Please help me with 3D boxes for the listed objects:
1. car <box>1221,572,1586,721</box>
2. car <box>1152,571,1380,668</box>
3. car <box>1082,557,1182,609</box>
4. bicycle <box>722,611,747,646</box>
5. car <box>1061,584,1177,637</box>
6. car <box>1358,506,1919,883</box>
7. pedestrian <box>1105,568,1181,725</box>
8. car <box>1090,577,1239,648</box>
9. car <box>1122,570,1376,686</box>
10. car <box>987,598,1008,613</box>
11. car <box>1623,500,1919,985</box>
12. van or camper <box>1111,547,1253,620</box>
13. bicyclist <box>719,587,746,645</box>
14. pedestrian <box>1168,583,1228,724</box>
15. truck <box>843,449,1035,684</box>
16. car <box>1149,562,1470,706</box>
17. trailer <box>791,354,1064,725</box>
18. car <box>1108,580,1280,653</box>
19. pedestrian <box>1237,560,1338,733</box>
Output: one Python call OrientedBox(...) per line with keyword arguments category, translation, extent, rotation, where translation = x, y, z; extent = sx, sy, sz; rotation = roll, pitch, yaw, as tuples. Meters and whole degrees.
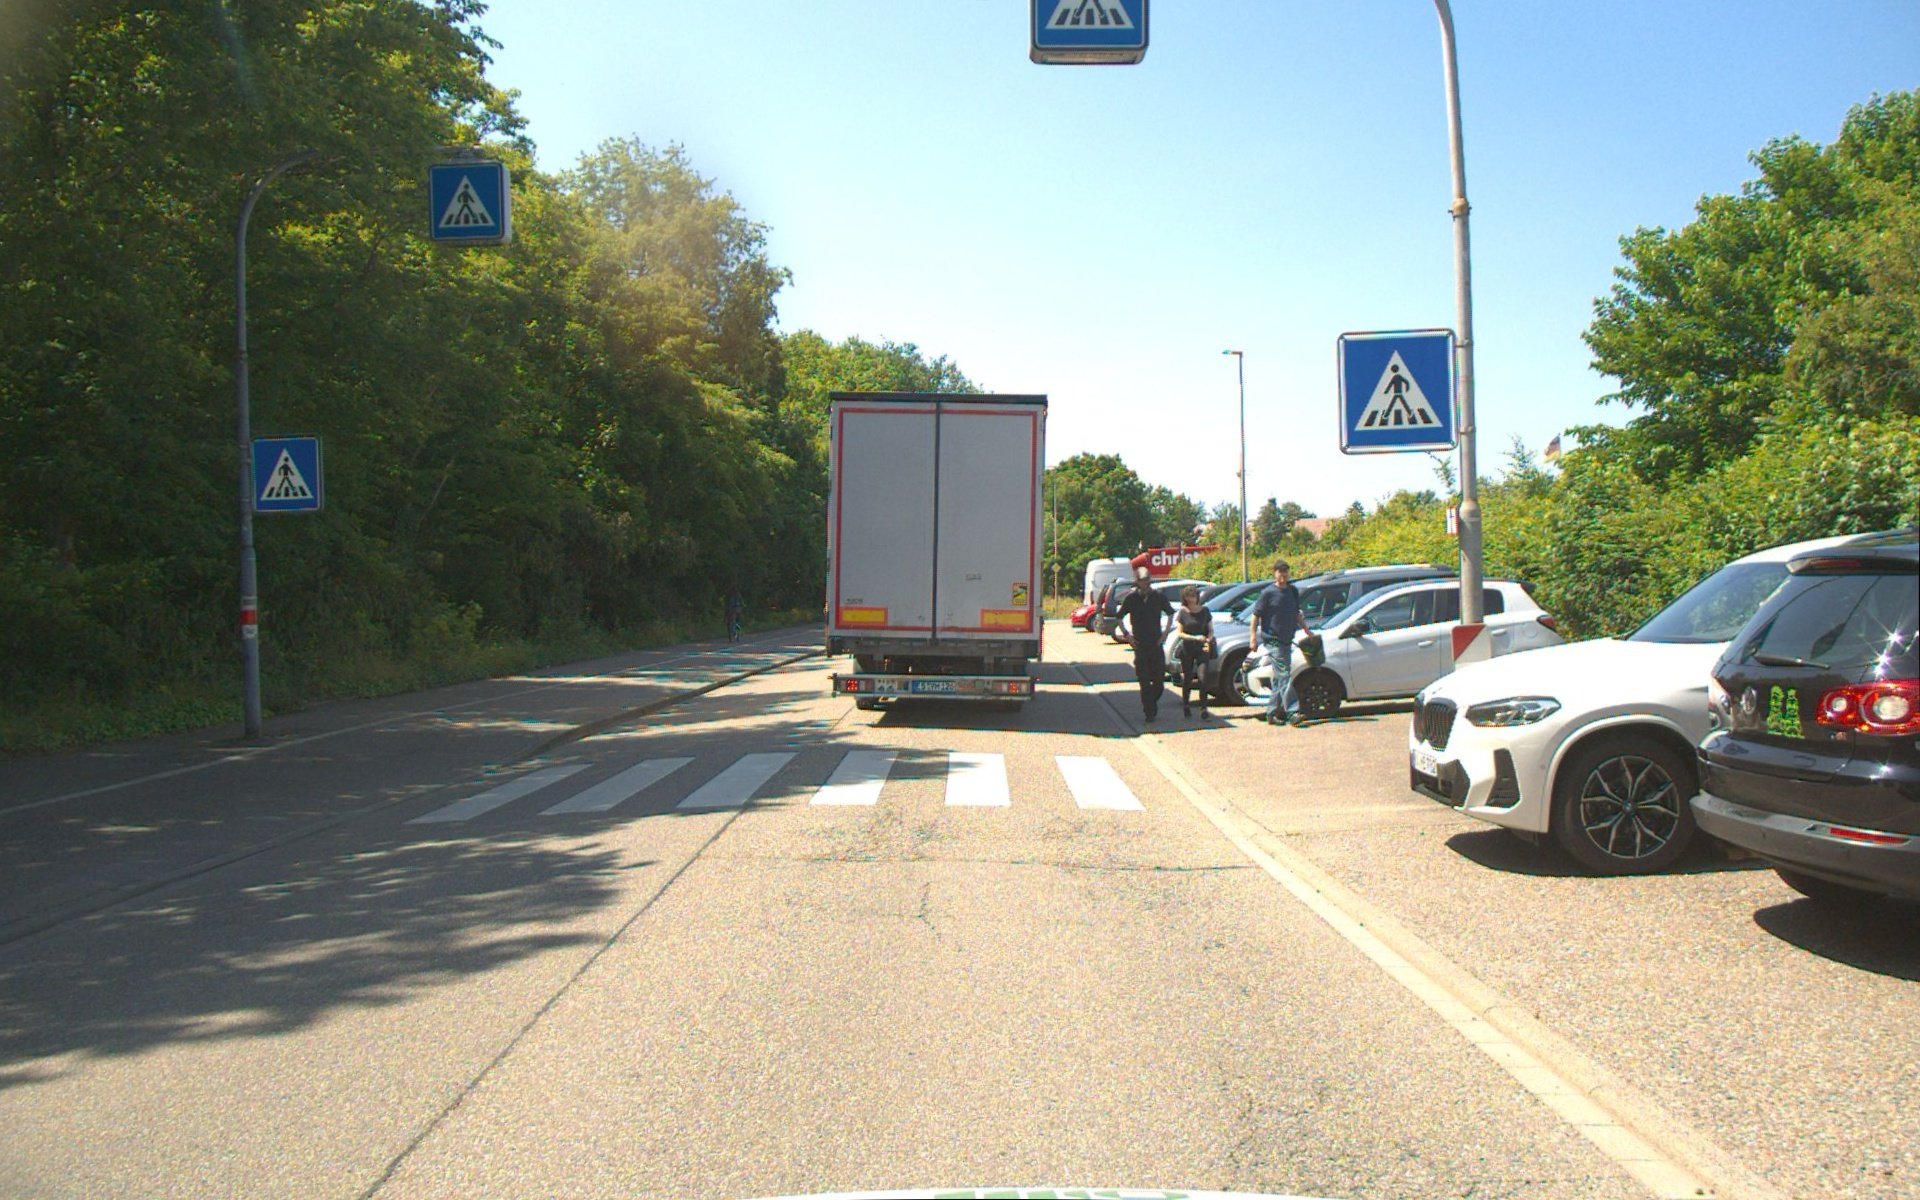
OrientedBox(category="car", translation=(5.197, 0.543, 19.806), extent=(3.874, 1.506, 1.814), rotation=(-3, -1, 3))
OrientedBox(category="car", translation=(5.848, 0.369, 31.817), extent=(3.883, 1.614, 1.810), rotation=(-3, -1, -9))
OrientedBox(category="car", translation=(7.021, -0.680, 67.817), extent=(3.875, 1.829, 1.813), rotation=(-3, -3, 1))
OrientedBox(category="bicycle", translation=(-7.054, 0.895, 51.832), extent=(0.444, 1.065, 2.203), rotation=(0, -1, 1))
OrientedBox(category="car", translation=(5.741, 0.375, 60.022), extent=(3.879, 1.697, 1.812), rotation=(-3, -1, -5))
OrientedBox(category="car", translation=(4.738, 0.409, 9.471), extent=(4.318, 1.727, 1.875), rotation=(-5, -1, -4))
OrientedBox(category="pedestrian", translation=(2.258, 0.573, 20.536), extent=(0.804, 1.866, 0.793), rotation=(-3, -1, 4))
OrientedBox(category="car", translation=(5.792, 0.349, 47.102), extent=(3.879, 1.796, 1.812), rotation=(-2, 0, -5))
OrientedBox(category="car", translation=(4.921, 0.444, 28.409), extent=(3.883, 1.697, 1.810), rotation=(-3, 2, -9))
OrientedBox(category="car", translation=(3.862, 0.566, 170.967), extent=(1.743, 1.512, 4.003), rotation=(-1, 0, 7))
OrientedBox(category="car", translation=(5.132, 0.447, 6.773), extent=(4.041, 1.686, 1.886), rotation=(-2, 0, -1))
OrientedBox(category="van or camper", translation=(11.316, -0.827, 84.093), extent=(6.895, 3.650, 2.775), rotation=(0, -1, 13))
OrientedBox(category="bicyclist", translation=(-7.088, 0.489, 51.580), extent=(0.702, 1.789, 0.796), rotation=(0, -1, 2))
OrientedBox(category="pedestrian", translation=(2.883, 0.640, 20.100), extent=(0.577, 1.643, 0.745), rotation=(-3, -1, 4))
OrientedBox(category="truck", translation=(-0.291, -0.576, 30.750), extent=(3.050, 3.790, 6.414), rotation=(2, 0, 1))
OrientedBox(category="car", translation=(4.729, 0.452, 22.681), extent=(3.881, 1.697, 1.811), rotation=(-3, -1, -7))
OrientedBox(category="trailer", translation=(-0.318, -0.706, 24.549), extent=(3.049, 4.174, 11.537), rotation=(1, 0, 0))
OrientedBox(category="car", translation=(5.744, 0.406, 40.899), extent=(3.879, 1.647, 1.812), rotation=(-2, 0, -5))
OrientedBox(category="pedestrian", translation=(3.632, 0.506, 18.404), extent=(0.888, 1.830, 0.935), rotation=(-3, -1, 4))
